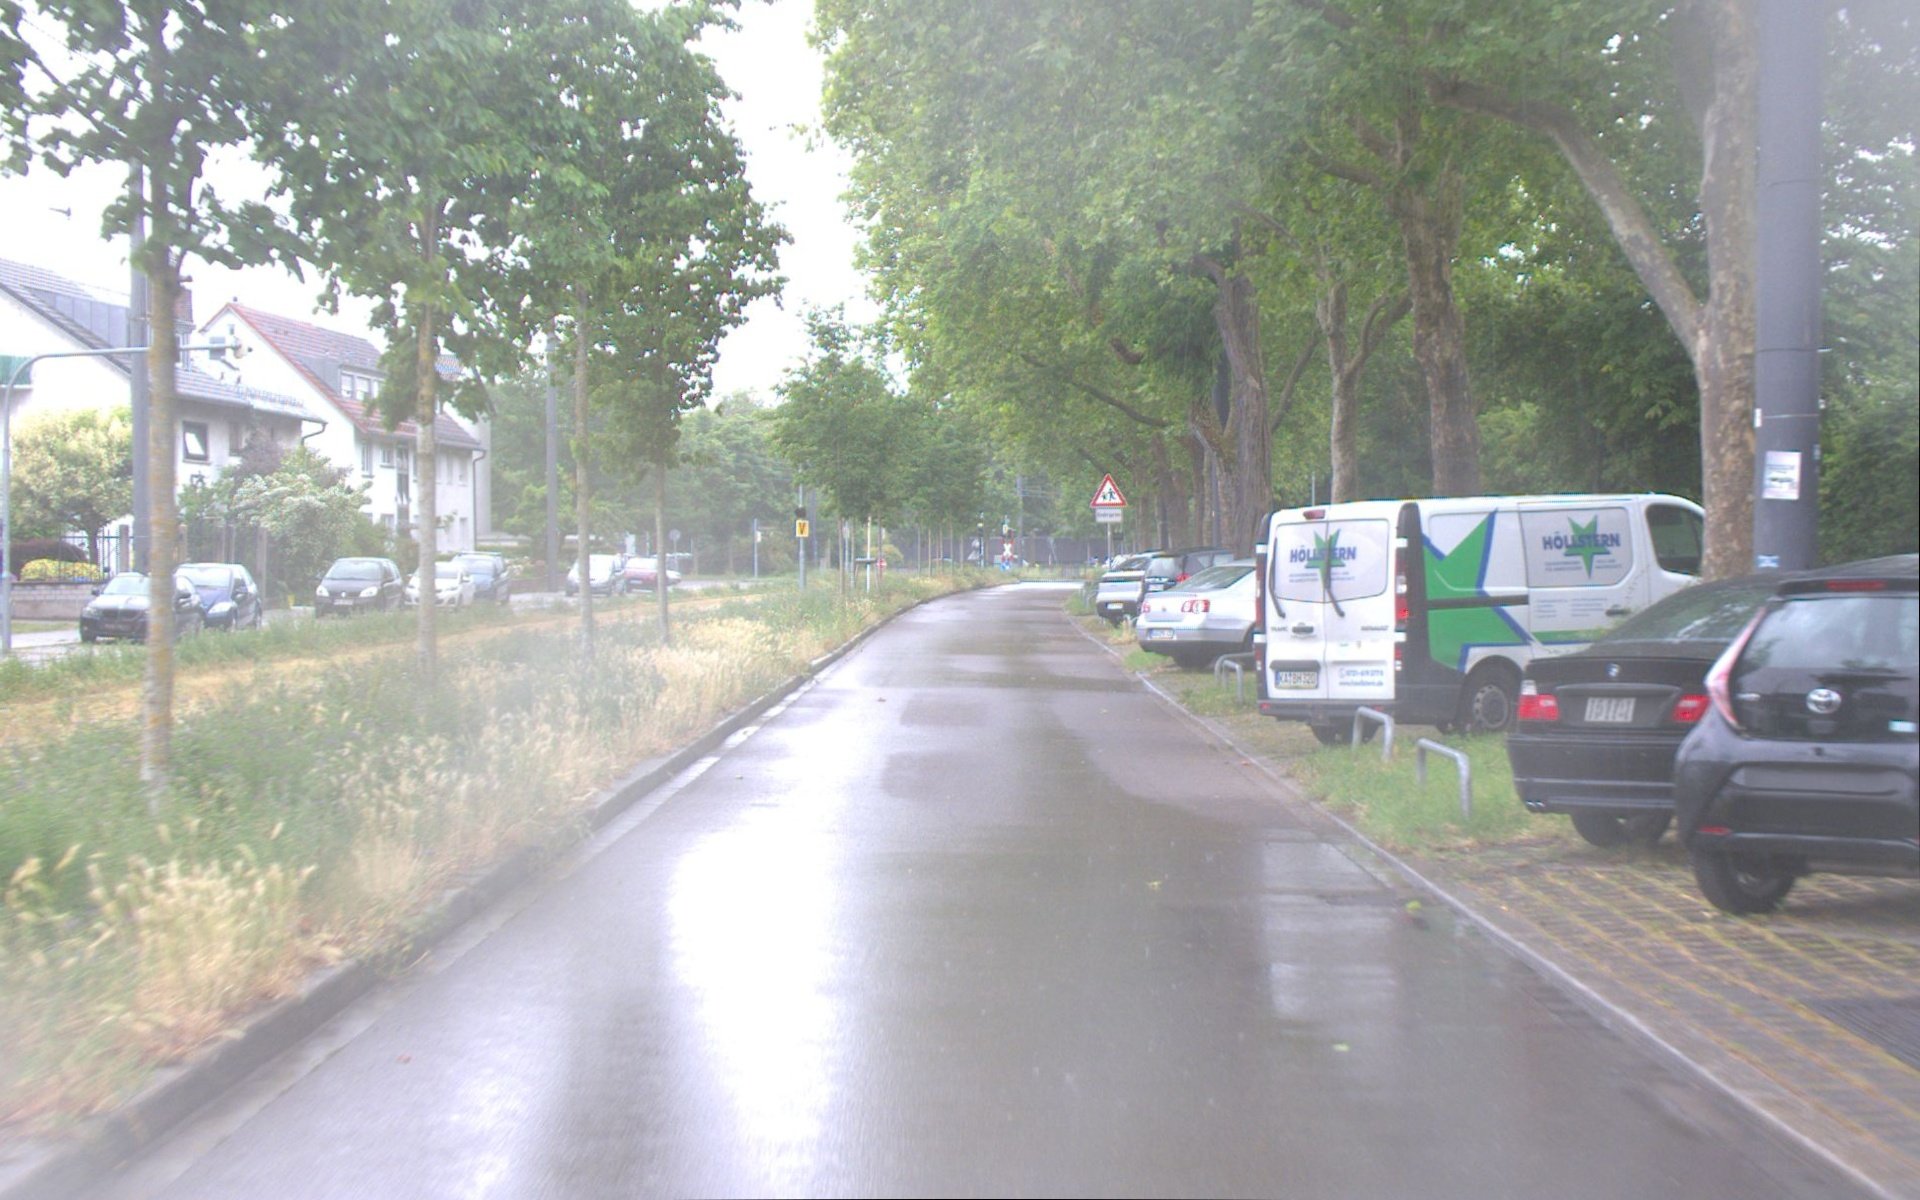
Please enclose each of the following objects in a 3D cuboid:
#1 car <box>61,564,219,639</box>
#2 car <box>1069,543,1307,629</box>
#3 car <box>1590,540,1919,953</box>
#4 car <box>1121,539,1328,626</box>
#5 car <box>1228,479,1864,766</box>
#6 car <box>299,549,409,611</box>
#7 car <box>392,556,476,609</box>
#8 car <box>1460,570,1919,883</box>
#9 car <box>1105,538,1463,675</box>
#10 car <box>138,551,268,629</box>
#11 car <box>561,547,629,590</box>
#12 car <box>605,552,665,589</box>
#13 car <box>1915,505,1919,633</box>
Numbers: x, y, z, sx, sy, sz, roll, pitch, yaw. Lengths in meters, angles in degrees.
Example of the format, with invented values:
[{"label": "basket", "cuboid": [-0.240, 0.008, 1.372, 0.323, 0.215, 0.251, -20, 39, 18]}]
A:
[{"label": "car", "cuboid": [-16.224, 0.003, 68.227, 1.993, 1.346, 4.240, 2, 1, 2]}, {"label": "car", "cuboid": [4.786, -0.308, 71.976, 4.760, 1.662, 1.994, -2, 1, -36]}, {"label": "car", "cuboid": [4.493, 0.494, 14.244, 3.394, 1.513, 1.850, -3, 1, -37]}, {"label": "car", "cuboid": [5.087, -0.348, 65.991, 3.702, 1.561, 1.619, -2, 1, -32]}, {"label": "car", "cuboid": [4.759, 0.103, 27.591, 5.014, 2.006, 2.000, -3, 2, -34]}, {"label": "car", "cuboid": [-15.899, -0.533, 90.436, 1.993, 1.511, 4.205, 2, 1, 2]}, {"label": "car", "cuboid": [-15.625, -0.541, 102.239, 1.796, 1.483, 3.597, 2, 1, 2]}, {"label": "car", "cuboid": [4.667, 0.551, 17.559, 4.293, 1.379, 1.740, -1, 1, -39]}, {"label": "car", "cuboid": [4.406, 0.049, 46.537, 4.546, 1.539, 1.888, -4, 3, -31]}, {"label": "car", "cuboid": [-16.097, -0.234, 73.283, 1.874, 1.545, 3.870, 2, 1, 0]}, {"label": "car", "cuboid": [-14.064, -1.229, 132.679, 1.993, 1.575, 4.517, 2, 1, 2]}, {"label": "car", "cuboid": [-13.854, -1.268, 146.690, 1.993, 1.483, 4.205, 2, 1, 2]}, {"label": "car", "cuboid": [4.910, 0.452, 11.331, 3.265, 1.666, 1.593, -3, 1, -34]}]
